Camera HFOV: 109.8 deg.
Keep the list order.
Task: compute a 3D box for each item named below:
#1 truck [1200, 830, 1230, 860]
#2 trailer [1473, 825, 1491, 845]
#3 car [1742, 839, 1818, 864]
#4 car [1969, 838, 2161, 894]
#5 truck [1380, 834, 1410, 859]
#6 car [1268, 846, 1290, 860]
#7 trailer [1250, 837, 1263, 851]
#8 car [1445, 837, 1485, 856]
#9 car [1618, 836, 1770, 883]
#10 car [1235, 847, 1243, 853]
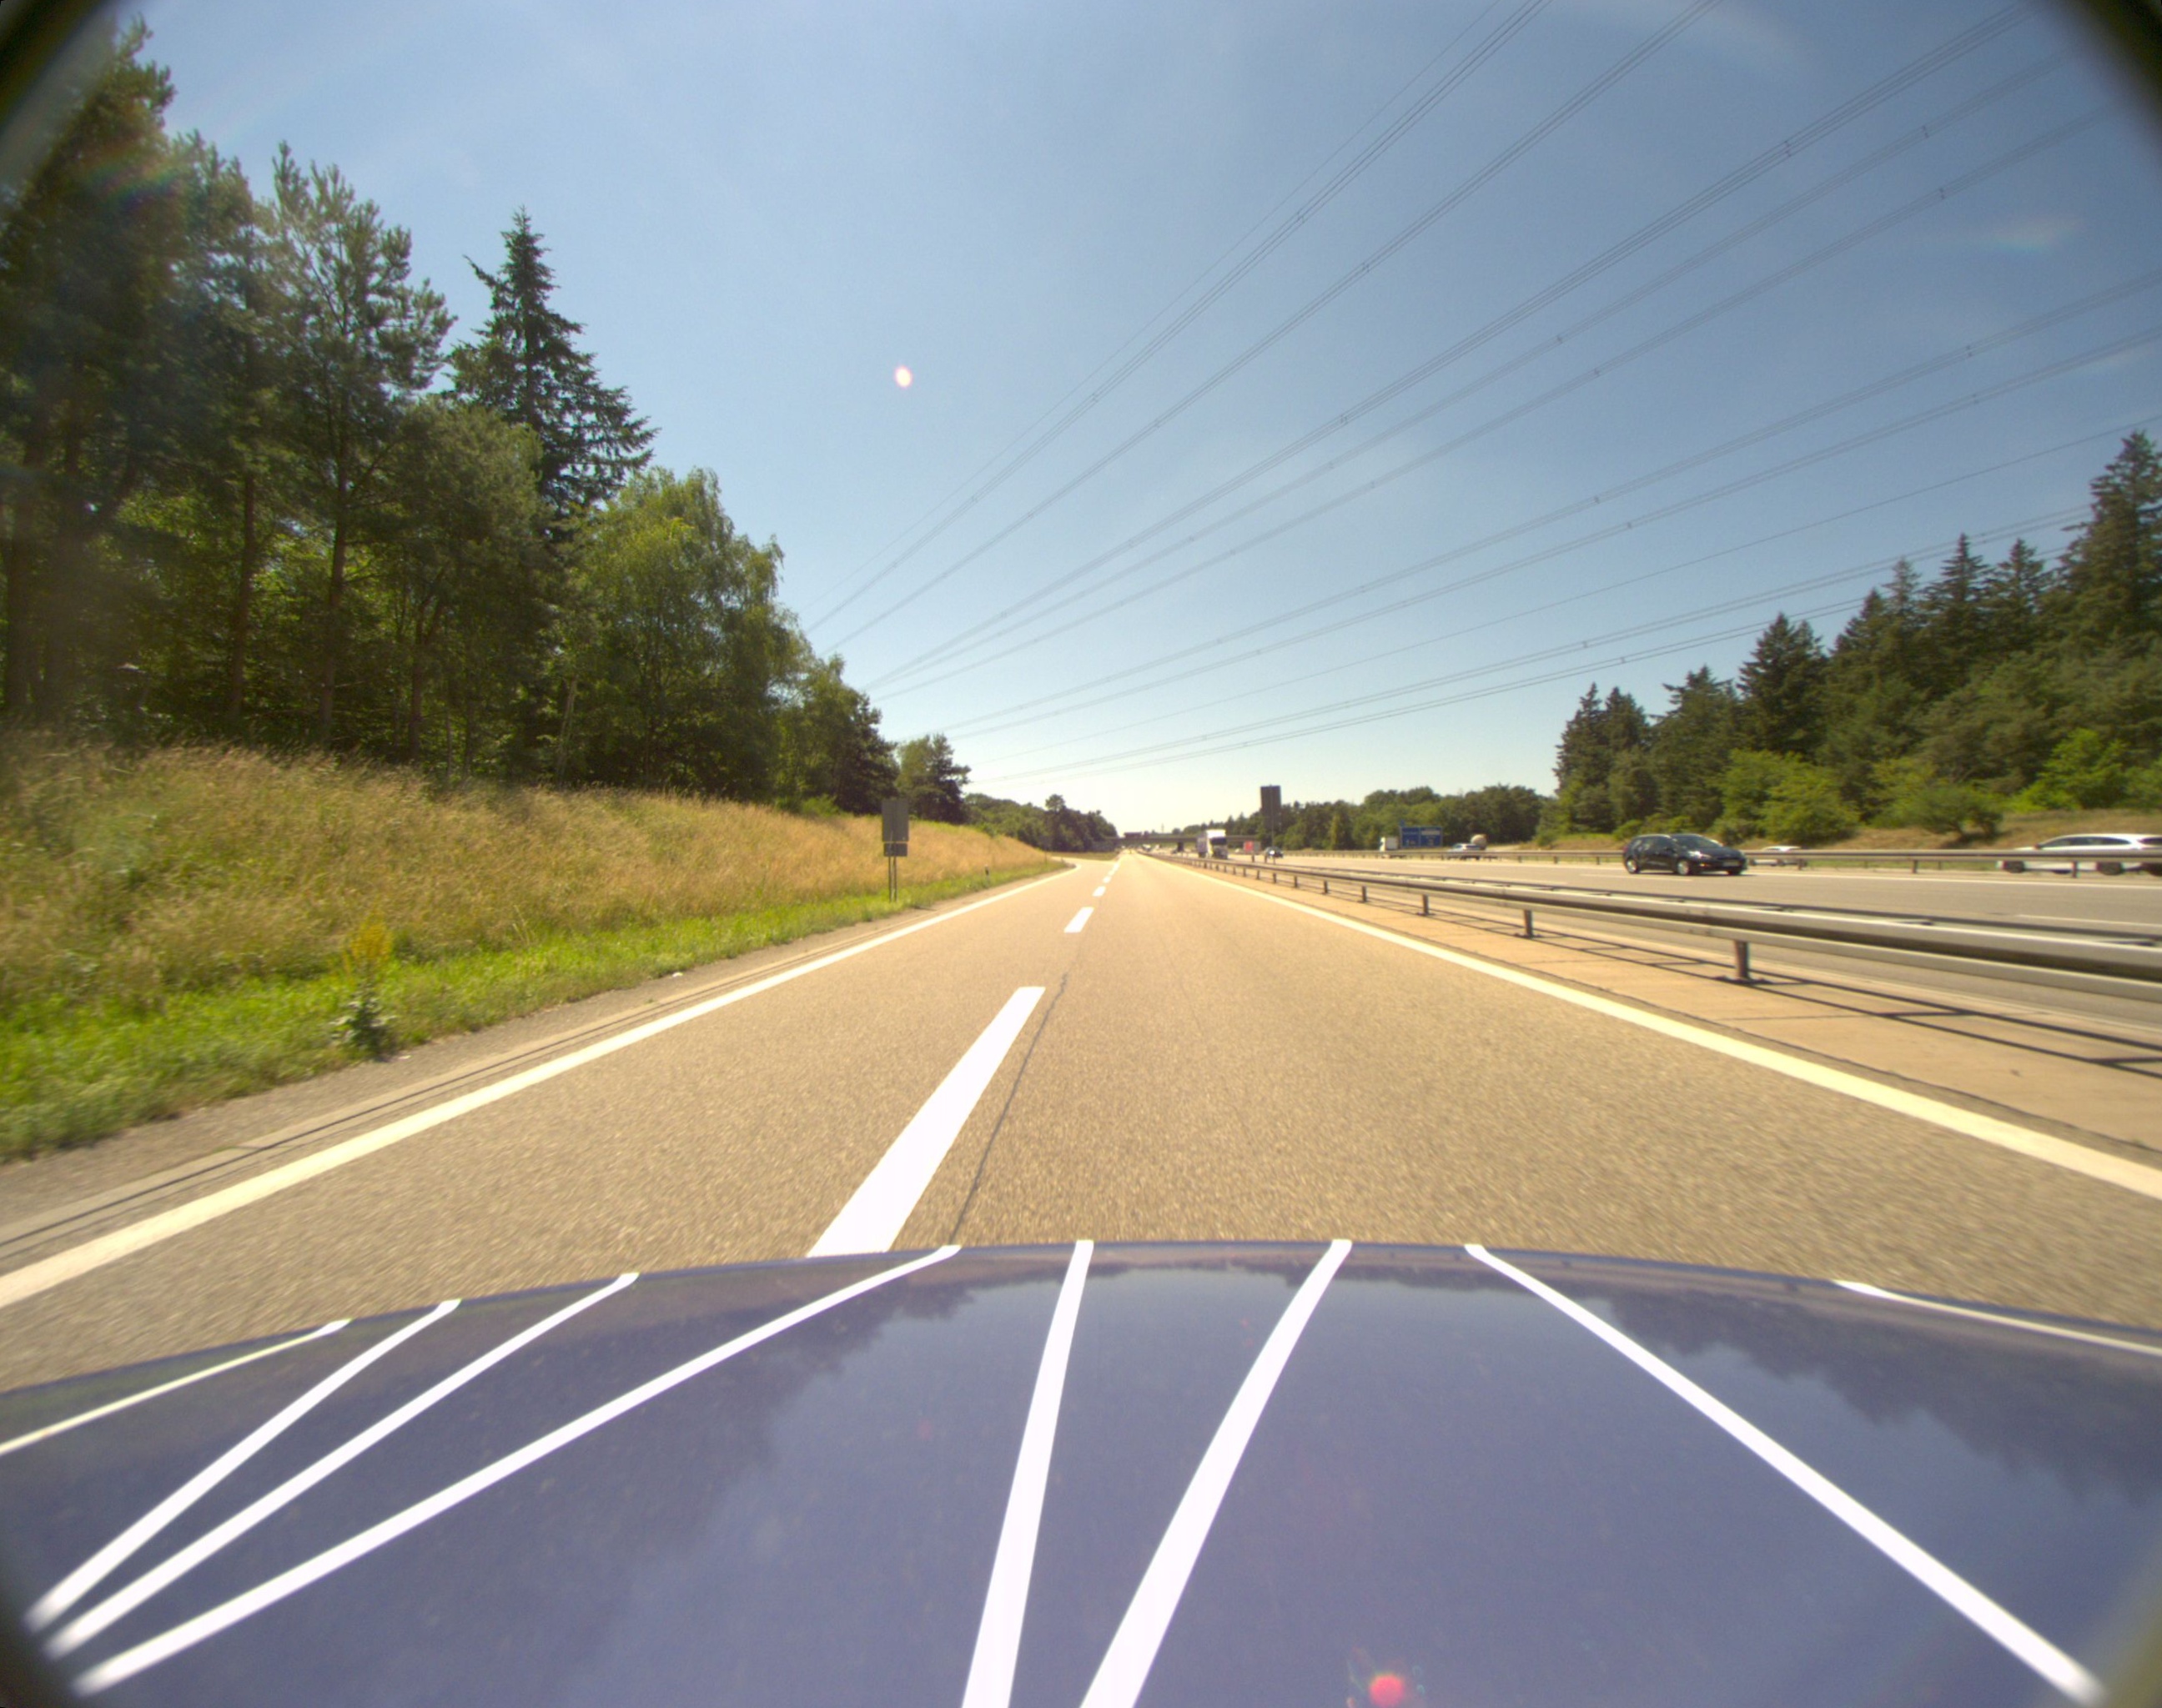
[{"bbox_3d":[18.750,-1.221,106.695,2.709,4.035,11.049,-1,0,3],"label":"truck"},{"bbox_3d":[77.826,-3.646,147.640,2.774,3.775,8.952,-1,0,26],"label":"trailer"},{"bbox_3d":[51.165,-0.216,55.718,1.998,1.773,3.999,-1,1,2],"label":"car"},{"bbox_3d":[35.401,0.349,27.046,1.998,1.773,4.811,-1,1,2],"label":"car"},{"bbox_3d":[56.415,-1.437,136.680,2.866,4.321,7.531,-1,2,5],"label":"truck"},{"bbox_3d":[25.413,-0.139,97.719,1.998,1.707,4.001,-2,1,4],"label":"car"},{"bbox_3d":[53.190,-2.930,230.233,2.546,3.775,13.749,-1,0,8],"label":"trailer"},{"bbox_3d":[37.793,-0.772,74.836,1.998,1.773,3.999,-1,1,2],"label":"car"},{"bbox_3d":[21.521,0.164,26.927,1.998,1.467,4.242,-2,1,1],"label":"car"},{"bbox_3d":[47.228,-1.277,227.314,1.776,1.674,4.825,-1,2,3],"label":"car"}]
